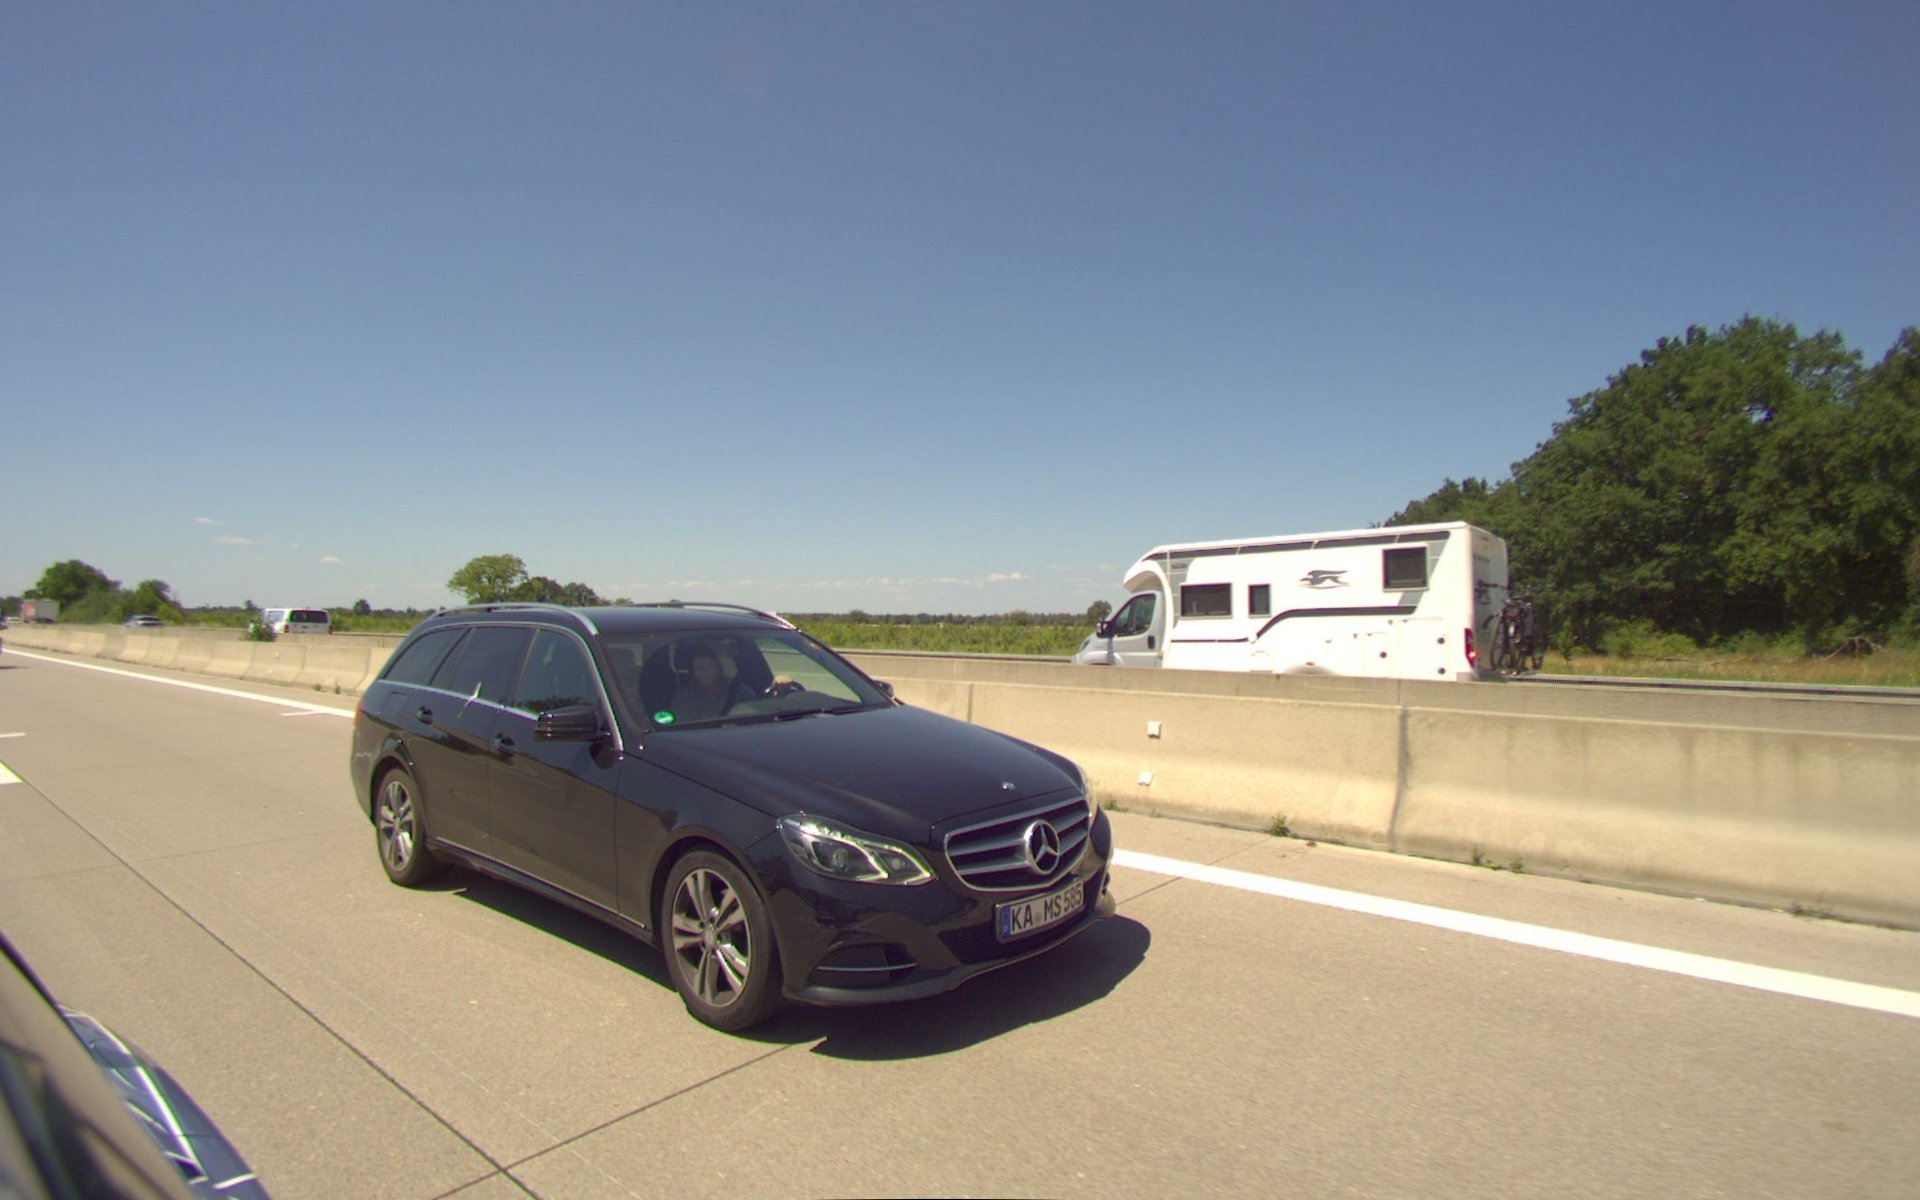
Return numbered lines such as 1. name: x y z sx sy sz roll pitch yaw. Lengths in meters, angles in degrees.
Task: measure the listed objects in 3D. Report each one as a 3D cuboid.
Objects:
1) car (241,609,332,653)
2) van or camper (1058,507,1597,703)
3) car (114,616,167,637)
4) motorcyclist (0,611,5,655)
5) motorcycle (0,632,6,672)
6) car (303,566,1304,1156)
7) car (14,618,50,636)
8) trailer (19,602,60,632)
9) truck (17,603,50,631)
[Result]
1. car: -28.840 1.292 43.246 5.790 1.731 1.807 -1 -1 41
2. van or camper: 5.411 0.106 16.156 7.798 2.462 2.225 -1 0 41
3. car: -61.123 1.963 75.477 6.132 1.508 2.044 -1 -2 41
4. motorcyclist: -26.692 0.899 27.495 0.911 1.218 1.013 -1 -2 43
5. motorcycle: -26.826 1.421 27.593 2.413 1.056 1.010 -1 0 43
6. car: -1.362 0.712 5.127 5.601 1.484 1.871 -1 -2 41
7. car: -76.162 2.210 83.044 4.078 1.508 1.738 -1 -2 41
8. trailer: -130.888 2.476 143.858 12.337 4.013 2.968 -1 -2 42
9. truck: -135.990 2.559 148.508 7.293 4.013 2.967 -1 -2 42
